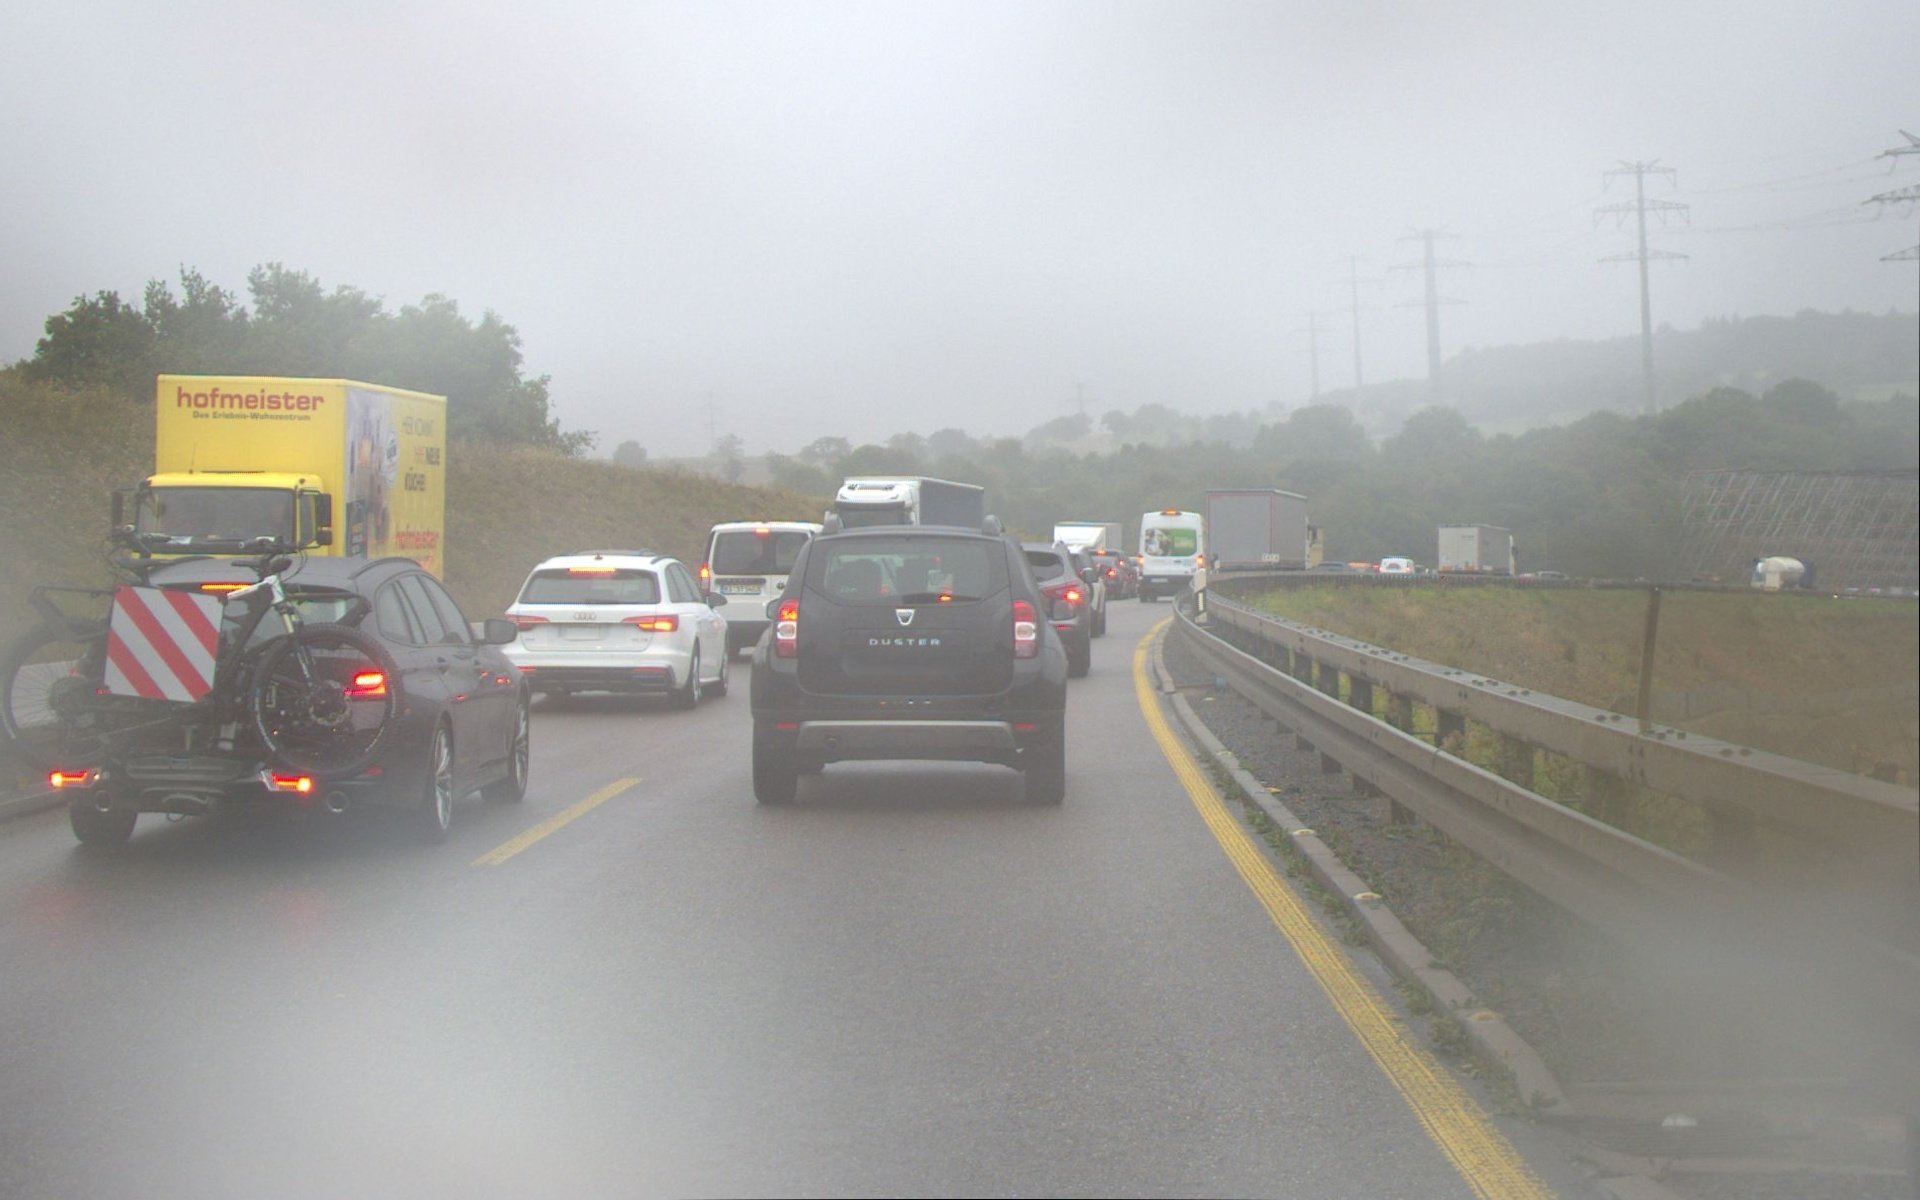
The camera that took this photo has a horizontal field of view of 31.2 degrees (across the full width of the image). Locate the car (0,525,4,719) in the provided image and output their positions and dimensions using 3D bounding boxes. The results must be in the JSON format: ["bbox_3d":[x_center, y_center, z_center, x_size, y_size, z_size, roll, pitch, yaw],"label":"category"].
[{"bbox_3d":[-6.835,0.345,19.536,1.760,1.592,4.000,1,1,-2],"label":"car"}]

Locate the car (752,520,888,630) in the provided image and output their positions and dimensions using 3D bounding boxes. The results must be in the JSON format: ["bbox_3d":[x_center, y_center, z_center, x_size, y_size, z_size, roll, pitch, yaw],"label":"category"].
[{"bbox_3d":[-2.269,-0.431,56.815,1.868,1.702,4.091,1,1,2],"label":"car"}]

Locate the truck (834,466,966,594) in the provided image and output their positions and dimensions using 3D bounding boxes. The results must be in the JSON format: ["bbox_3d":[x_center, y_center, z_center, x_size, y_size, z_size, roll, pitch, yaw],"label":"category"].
[{"bbox_3d":[-1.923,-2.387,118.495,2.933,4.083,14.388,1,1,5],"label":"truck"}]

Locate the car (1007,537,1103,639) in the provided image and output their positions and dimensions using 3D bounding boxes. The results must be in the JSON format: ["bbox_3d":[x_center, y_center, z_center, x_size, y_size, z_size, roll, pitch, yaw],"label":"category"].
[{"bbox_3d":[1.625,-0.234,58.314,1.530,1.635,4.013,1,1,2],"label":"car"}]

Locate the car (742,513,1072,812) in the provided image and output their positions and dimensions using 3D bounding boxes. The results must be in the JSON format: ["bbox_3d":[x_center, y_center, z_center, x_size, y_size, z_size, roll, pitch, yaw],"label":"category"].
[{"bbox_3d":[-0.231,0.319,20.826,1.804,1.640,3.776,0,1,2],"label":"car"}]

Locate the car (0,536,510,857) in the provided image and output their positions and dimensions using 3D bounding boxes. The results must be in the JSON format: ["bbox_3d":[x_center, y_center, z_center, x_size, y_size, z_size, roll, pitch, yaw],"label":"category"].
[{"bbox_3d":[-3.514,0.419,17.705,1.829,1.471,3.776,0,1,1],"label":"car"}]

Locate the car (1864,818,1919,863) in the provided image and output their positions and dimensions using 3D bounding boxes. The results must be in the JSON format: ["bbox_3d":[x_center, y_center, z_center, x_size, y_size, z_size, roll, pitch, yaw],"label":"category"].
[{"bbox_3d":[45.265,11.670,166.886,1.994,1.809,3.999,1,1,5],"label":"car"}]

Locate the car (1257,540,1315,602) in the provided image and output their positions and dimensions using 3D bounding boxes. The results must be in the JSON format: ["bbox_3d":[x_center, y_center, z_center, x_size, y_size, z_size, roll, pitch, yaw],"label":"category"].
[{"bbox_3d":[10.435,-0.935,109.903,1.775,1.909,3.999,1,1,6],"label":"car"}]

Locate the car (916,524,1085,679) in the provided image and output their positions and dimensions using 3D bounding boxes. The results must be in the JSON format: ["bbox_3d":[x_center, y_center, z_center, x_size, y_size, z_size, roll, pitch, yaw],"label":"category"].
[{"bbox_3d":[0.510,-0.016,40.662,1.867,1.702,4.000,1,1,2],"label":"car"}]

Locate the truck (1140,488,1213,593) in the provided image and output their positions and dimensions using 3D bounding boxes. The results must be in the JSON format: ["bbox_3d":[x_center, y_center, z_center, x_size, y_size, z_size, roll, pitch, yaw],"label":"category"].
[{"bbox_3d":[6.790,-1.871,107.761,2.149,3.155,6.459,1,1,4],"label":"truck"}]

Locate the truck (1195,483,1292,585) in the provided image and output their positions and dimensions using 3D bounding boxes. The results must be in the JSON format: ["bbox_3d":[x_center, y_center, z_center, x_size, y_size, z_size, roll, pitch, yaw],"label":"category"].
[{"bbox_3d":[11.019,-2.517,132.924,3.201,3.748,8.507,1,1,8],"label":"truck"}]

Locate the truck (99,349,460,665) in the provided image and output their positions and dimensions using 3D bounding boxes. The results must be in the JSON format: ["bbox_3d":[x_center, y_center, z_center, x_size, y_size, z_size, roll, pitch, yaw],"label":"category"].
[{"bbox_3d":[-9.263,-1.257,47.847,2.769,3.983,8.421,1,1,4],"label":"truck"}]

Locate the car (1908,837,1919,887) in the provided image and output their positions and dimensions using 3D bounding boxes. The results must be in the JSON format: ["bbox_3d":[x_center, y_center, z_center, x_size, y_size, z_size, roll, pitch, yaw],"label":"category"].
[{"bbox_3d":[42.910,11.498,149.500,2.365,2.007,4.000,1,1,2],"label":"car"}]

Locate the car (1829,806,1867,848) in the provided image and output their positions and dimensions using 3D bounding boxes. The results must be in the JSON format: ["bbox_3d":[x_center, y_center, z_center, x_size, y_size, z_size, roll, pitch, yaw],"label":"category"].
[{"bbox_3d":[50.707,12.933,196.353,1.995,2.007,3.997,2,1,16],"label":"car"}]

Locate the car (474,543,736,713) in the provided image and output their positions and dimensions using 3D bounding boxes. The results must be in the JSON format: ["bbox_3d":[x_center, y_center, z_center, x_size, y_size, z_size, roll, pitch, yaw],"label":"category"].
[{"bbox_3d":[-3.270,0.207,32.485,1.867,1.455,4.548,1,1,1],"label":"car"}]

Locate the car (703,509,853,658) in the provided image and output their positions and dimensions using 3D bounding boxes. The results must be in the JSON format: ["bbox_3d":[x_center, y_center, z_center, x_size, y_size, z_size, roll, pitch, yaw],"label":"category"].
[{"bbox_3d":[-2.392,-0.245,46.020,1.660,1.873,4.020,1,1,1],"label":"car"}]

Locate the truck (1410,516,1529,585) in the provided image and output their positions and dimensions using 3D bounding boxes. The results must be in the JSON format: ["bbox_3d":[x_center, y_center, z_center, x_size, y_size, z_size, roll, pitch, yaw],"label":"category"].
[{"bbox_3d":[32.498,-3.092,218.502,4.722,4.135,15.668,2,1,19],"label":"truck"}]
